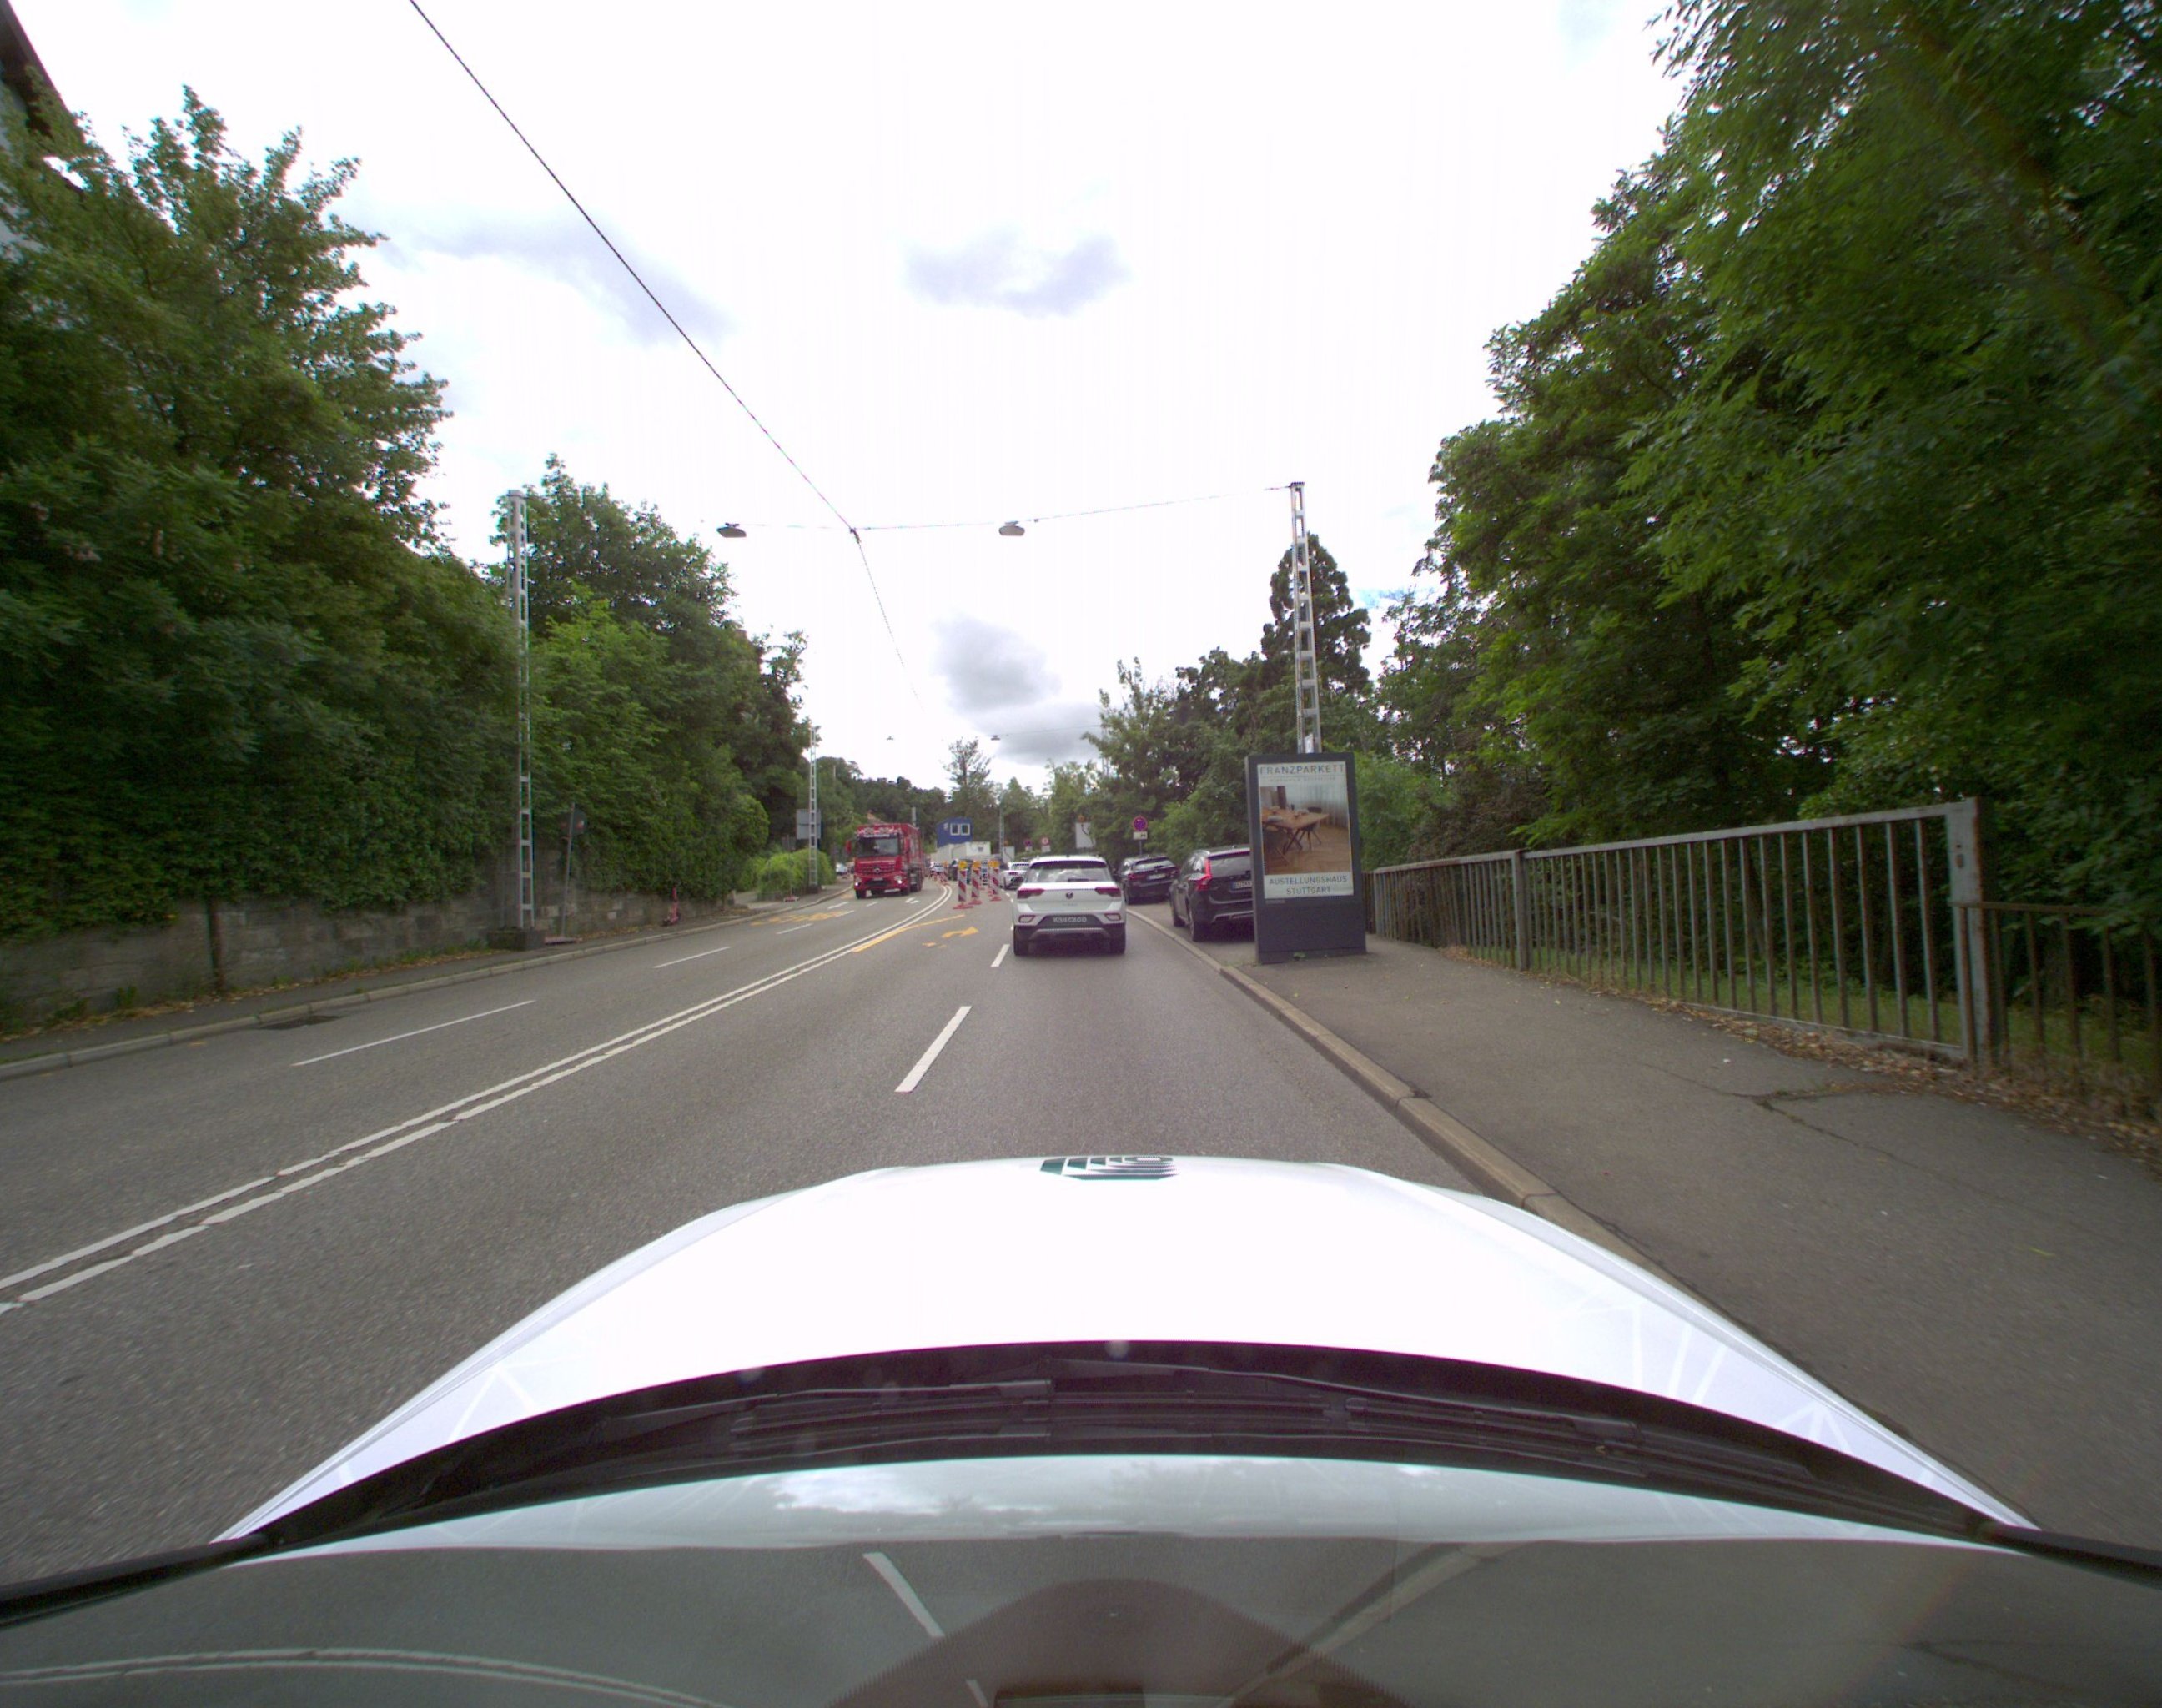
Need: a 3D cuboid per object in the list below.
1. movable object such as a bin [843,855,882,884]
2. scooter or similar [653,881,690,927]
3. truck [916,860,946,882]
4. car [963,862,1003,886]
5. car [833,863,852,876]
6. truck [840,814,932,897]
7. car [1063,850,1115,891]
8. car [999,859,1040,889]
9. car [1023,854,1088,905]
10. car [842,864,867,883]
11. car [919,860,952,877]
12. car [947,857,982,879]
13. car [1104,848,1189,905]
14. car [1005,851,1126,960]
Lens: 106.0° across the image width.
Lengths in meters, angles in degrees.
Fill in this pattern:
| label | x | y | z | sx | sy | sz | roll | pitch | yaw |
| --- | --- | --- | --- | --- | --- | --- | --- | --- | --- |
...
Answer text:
| label | x | y | z | sx | sy | sz | roll | pitch | yaw |
| --- | --- | --- | --- | --- | --- | --- | --- | --- | --- |
| movable object such as a bin | -30.449 | 2.196 | 113.492 | 3.552 | 3.699 | 7.425 | -3 | 0 | -28 |
| scooter or similar | -11.481 | 1.379 | 22.838 | 0.537 | 1.205 | 1.276 | 0 | -1 | -9 |
| truck | -10.845 | 1.187 | 58.676 | 1.666 | 1.443 | 4.003 | -3 | 0 | -17 |
| car | -6.497 | 1.320 | 53.719 | 1.998 | 1.414 | 4.128 | -3 | -1 | -16 |
| car | -28.542 | 1.838 | 97.356 | 1.901 | 1.494 | 3.974 | -3 | 0 | -19 |
| truck | -9.987 | 0.100 | 42.859 | 2.940 | 3.697 | 9.902 | -4 | 0 | -5 |
| car | 0.342 | 0.785 | 40.677 | 1.848 | 1.656 | 4.132 | -10 | 1 | -7 |
| car | -3.345 | 1.038 | 43.447 | 1.758 | 1.471 | 3.781 | -2 | 0 | -11 |
| car | -0.974 | 0.866 | 28.945 | 1.758 | 1.609 | 3.782 | -2 | 0 | -10 |
| car | -19.075 | 1.633 | 68.472 | 1.900 | 1.382 | 3.976 | -3 | 0 | -17 |
| car | -13.663 | 1.380 | 76.436 | 2.004 | 1.450 | 4.115 | -3 | -1 | -26 |
| car | -9.113 | 1.056 | 63.399 | 1.999 | 1.556 | 4.125 | -2 | 0 | -18 |
| car | 2.002 | 0.680 | 26.231 | 1.806 | 1.463 | 4.184 | -8 | 0 | -7 |
| car | -0.183 | 0.772 | 13.945 | 1.751 | 1.555 | 3.796 | -2 | 0 | 1 |
